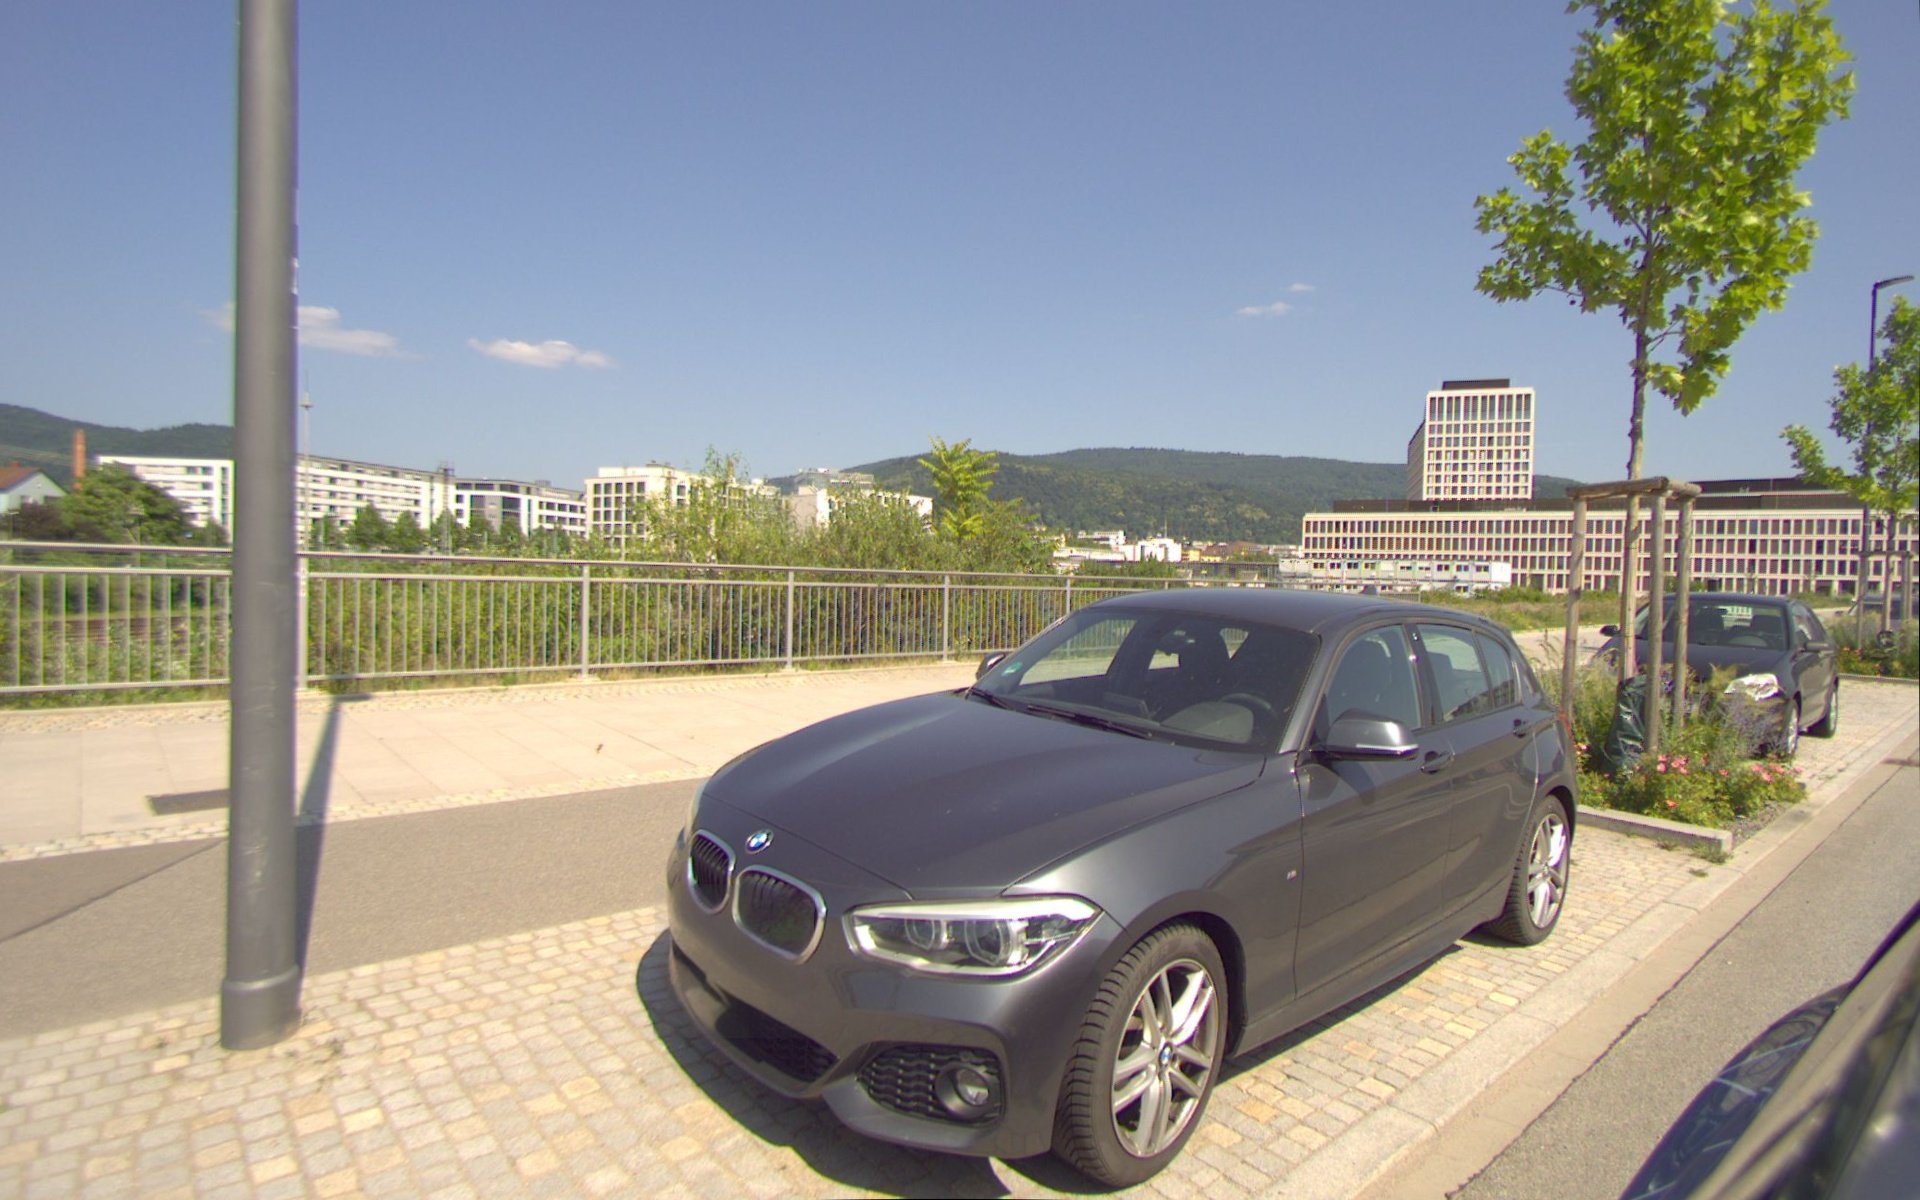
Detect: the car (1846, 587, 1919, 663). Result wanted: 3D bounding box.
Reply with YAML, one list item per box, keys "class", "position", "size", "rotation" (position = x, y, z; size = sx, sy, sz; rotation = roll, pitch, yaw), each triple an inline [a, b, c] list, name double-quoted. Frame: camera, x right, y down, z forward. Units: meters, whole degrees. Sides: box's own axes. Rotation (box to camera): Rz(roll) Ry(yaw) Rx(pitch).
- class: "car"
  position: [20.118, 0.488, 21.326]
  size: [3.885, 1.481, 1.707]
  rotation: [0, 0, -41]

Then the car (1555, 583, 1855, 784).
- class: "car"
  position: [7.522, 0.638, 10.077]
  size: [3.889, 1.480, 1.706]
  rotation: [-2, 4, -44]

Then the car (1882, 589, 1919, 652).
- class: "car"
  position: [24.347, 0.498, 25.063]
  size: [4.011, 1.481, 1.708]
  rotation: [0, 0, -40]

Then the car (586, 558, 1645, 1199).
- class: "car"
  position: [0.956, 0.595, 3.924]
  size: [4.195, 1.418, 1.708]
  rotation: [-1, 4, -40]
